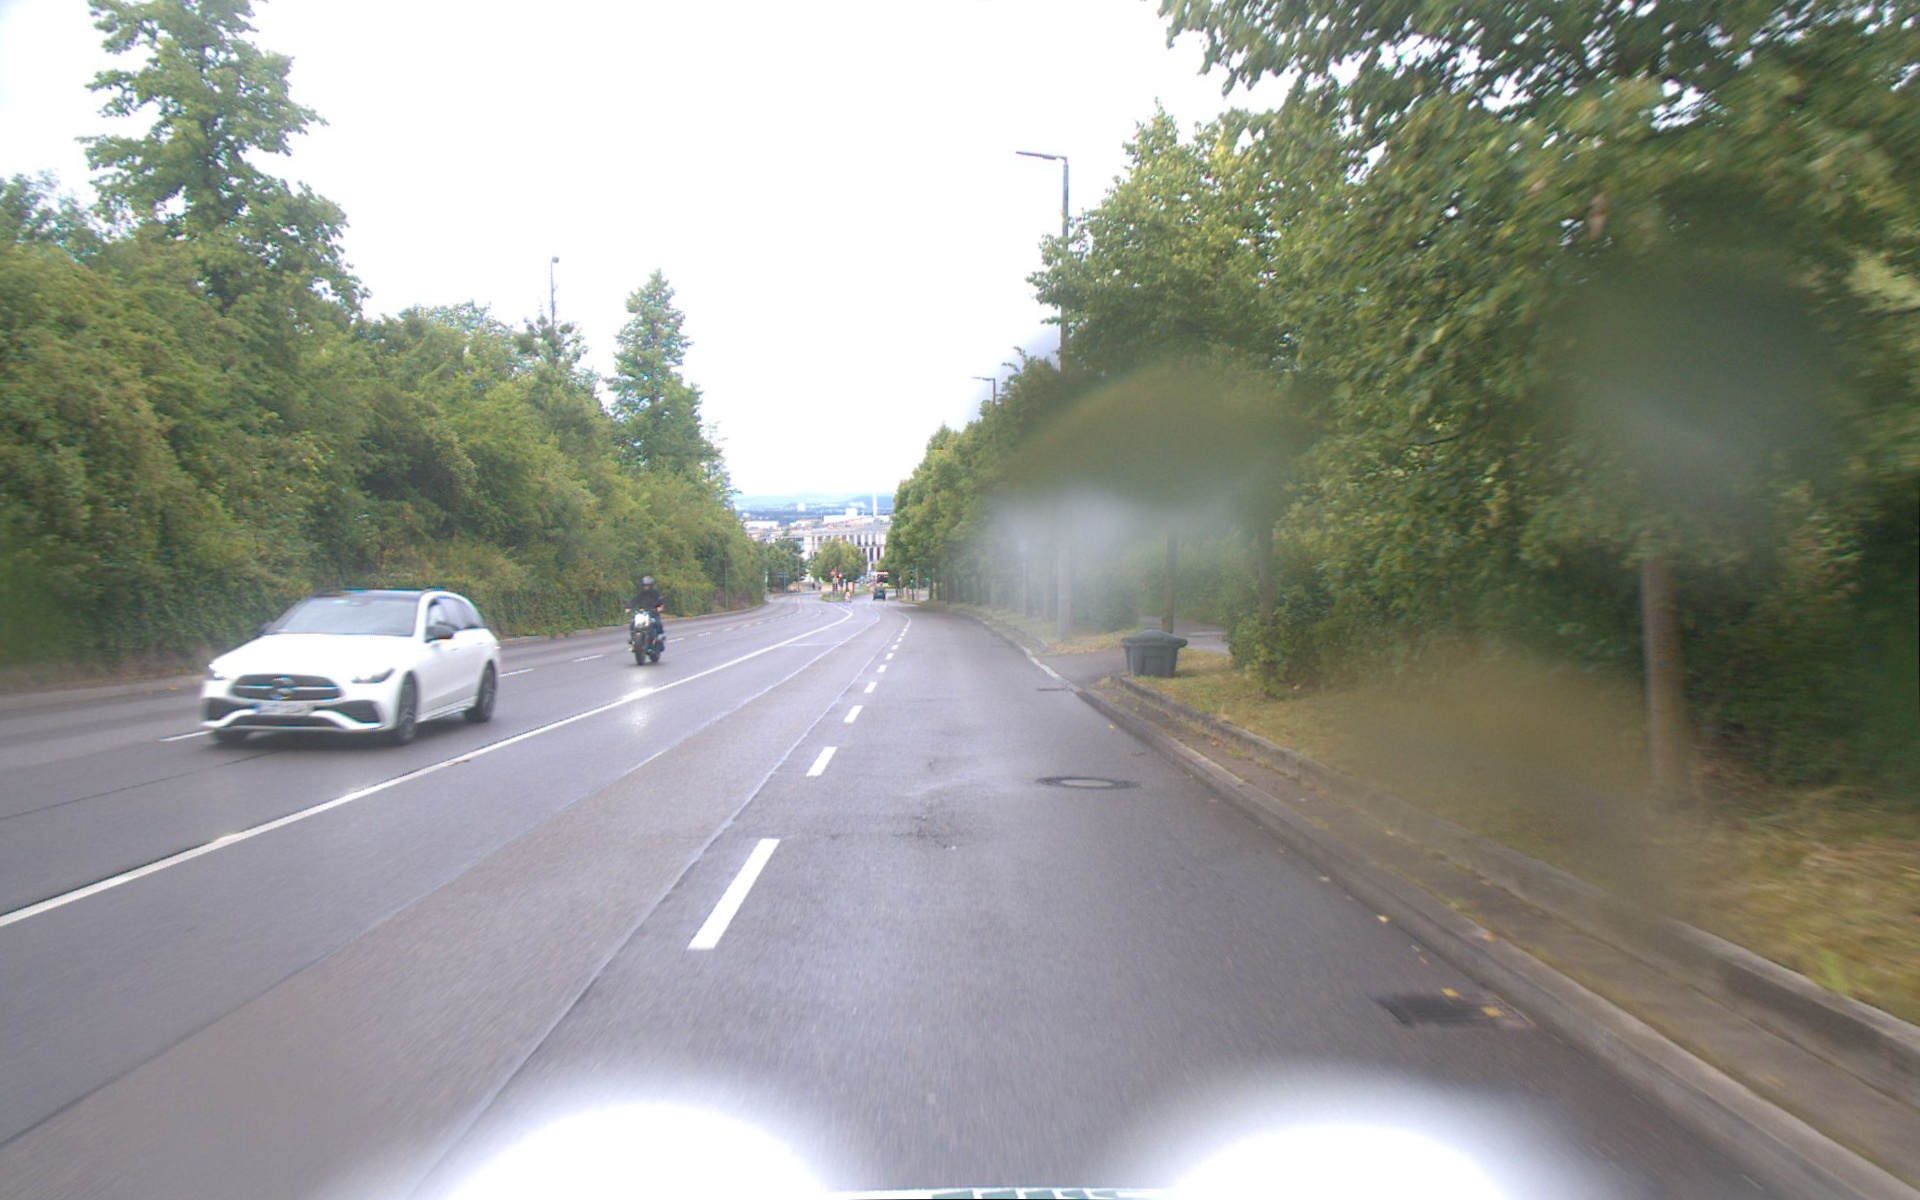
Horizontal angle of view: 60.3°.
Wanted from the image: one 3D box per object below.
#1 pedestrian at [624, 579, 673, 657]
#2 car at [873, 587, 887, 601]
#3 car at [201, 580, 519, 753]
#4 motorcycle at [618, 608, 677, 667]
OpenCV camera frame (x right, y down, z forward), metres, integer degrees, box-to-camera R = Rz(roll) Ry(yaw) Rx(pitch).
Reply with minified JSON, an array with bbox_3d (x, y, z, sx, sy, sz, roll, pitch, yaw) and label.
[{"bbox_3d":[-6.315,0.360,33.587,0.789,1.568,1.111,0,0,-1],"label":"pedestrian"},{"bbox_3d":[-10.732,-0.753,220.760,1.812,1.731,3.790,1,-1,-4],"label":"car"},{"bbox_3d":[-6.019,0.590,17.190,1.680,1.531,4.516,1,0,-1],"label":"car"},{"bbox_3d":[-6.317,0.740,33.567,0.789,1.151,2.231,0,0,-1],"label":"motorcycle"}]
